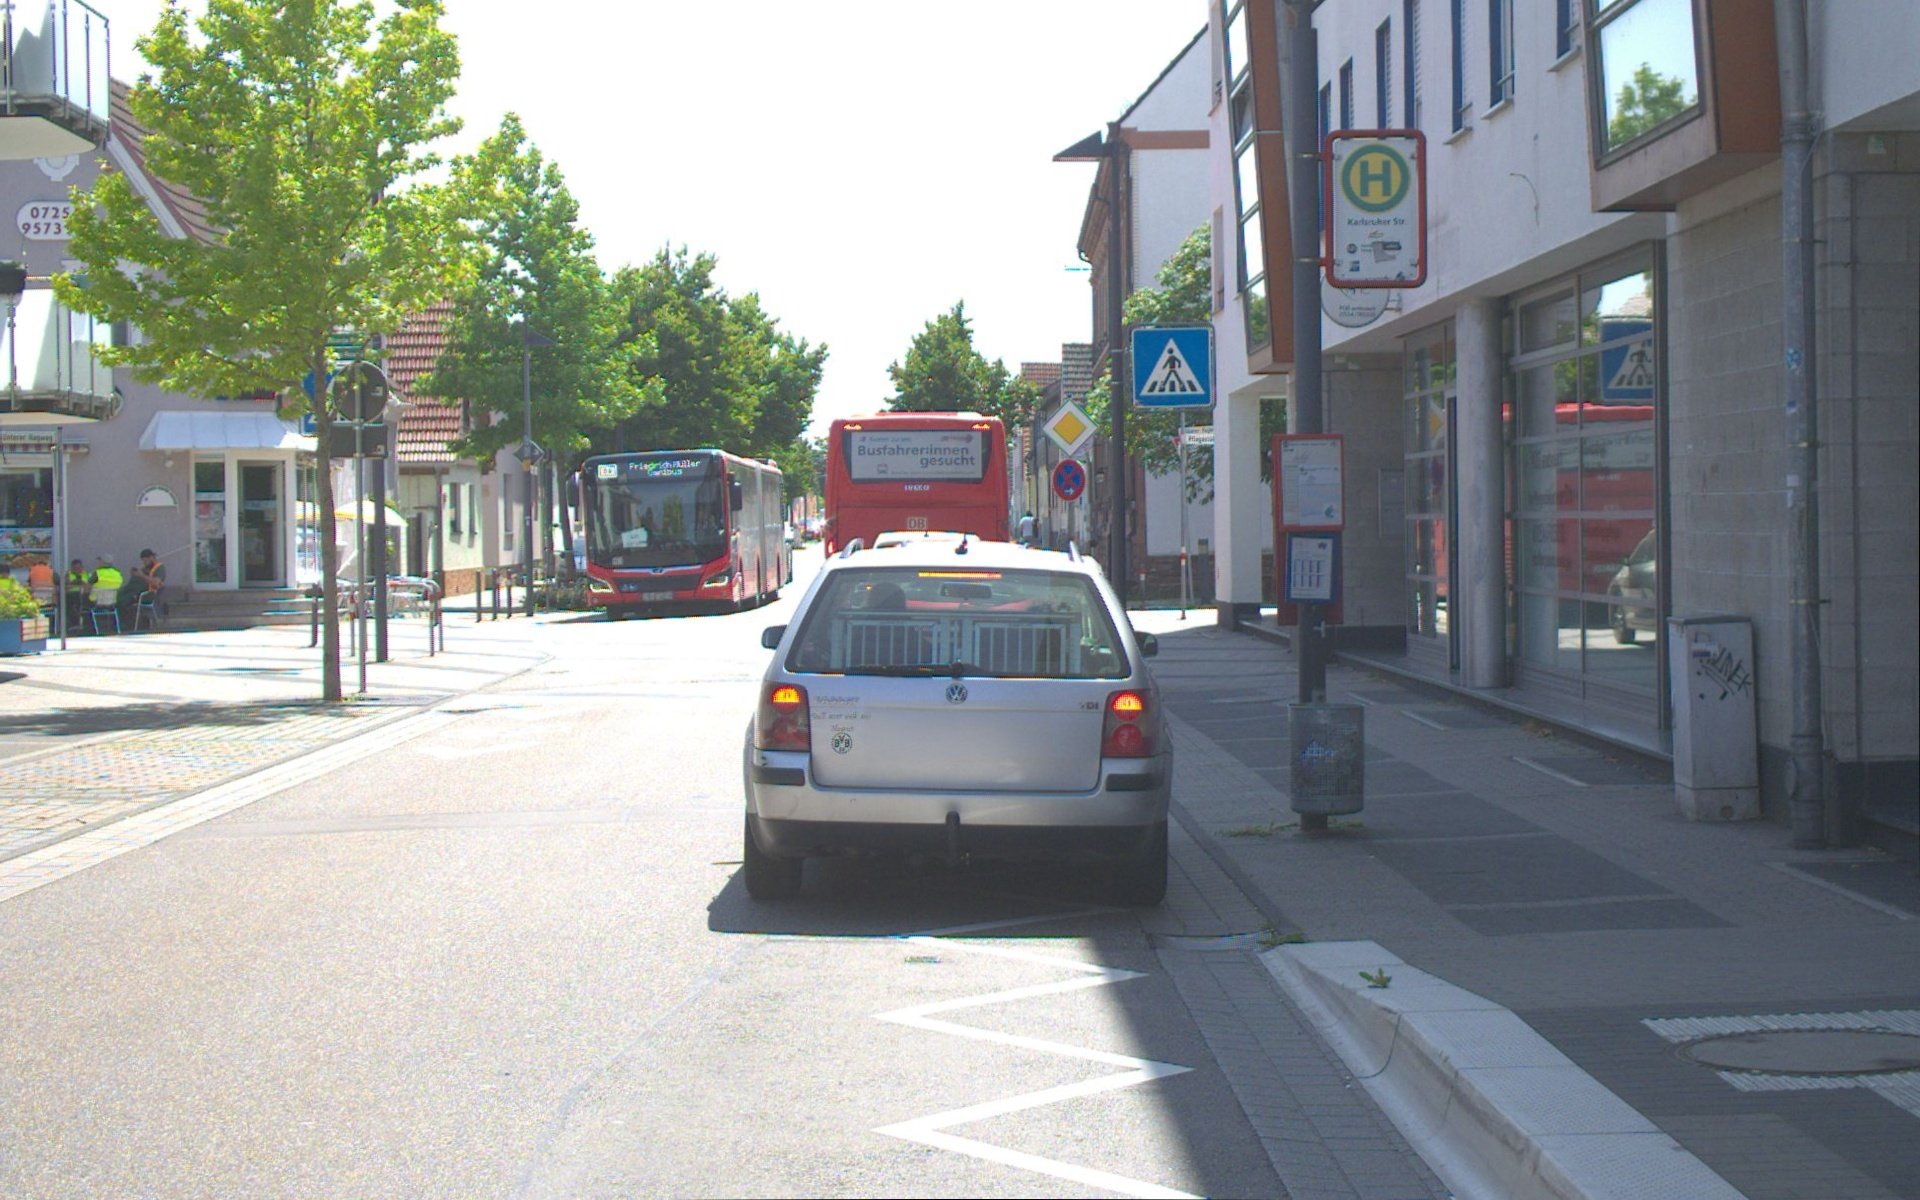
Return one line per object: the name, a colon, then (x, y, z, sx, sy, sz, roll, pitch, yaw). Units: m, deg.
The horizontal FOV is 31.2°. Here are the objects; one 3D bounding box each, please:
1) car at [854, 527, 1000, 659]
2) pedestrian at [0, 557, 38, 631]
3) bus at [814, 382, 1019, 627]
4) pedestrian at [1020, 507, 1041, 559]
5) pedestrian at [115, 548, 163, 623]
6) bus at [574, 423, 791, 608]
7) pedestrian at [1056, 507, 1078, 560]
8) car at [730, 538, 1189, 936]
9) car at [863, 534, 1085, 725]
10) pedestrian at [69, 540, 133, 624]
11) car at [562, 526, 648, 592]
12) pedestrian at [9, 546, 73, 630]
car: (-0.358, -0.118, 39.712, 1.593, 1.425, 3.680, 1, 1, 0)
pedestrian: (-14.690, -0.102, 52.944, 0.634, 1.112, 0.789, 1, 1, -44)
bus: (-0.836, -1.404, 52.533, 2.740, 3.287, 12.707, 0, 1, -2)
pedestrian: (2.282, -2.153, 110.706, 0.606, 1.661, 0.789, -1, 1, -2)
pedestrian: (-13.085, -0.242, 54.798, 0.622, 1.175, 0.697, -1, 1, -5)
bus: (-5.244, -1.688, 68.460, 2.669, 3.113, 17.808, -2, 1, 0)
pedestrian: (3.352, -2.083, 108.044, 0.606, 1.661, 0.789, -1, 1, -2)
car: (-0.032, 0.482, 14.686, 1.677, 1.425, 3.680, 2, 1, -1)
car: (0.076, 0.189, 27.894, 1.677, 1.425, 3.680, 0, 1, -1)
pedestrian: (-13.363, -0.284, 53.490, 0.634, 1.284, 0.789, 1, 1, -44)
car: (-8.078, -0.960, 78.424, 1.605, 1.433, 4.065, -1, 1, -1)
pedestrian: (-14.373, -0.186, 53.739, 0.634, 1.284, 0.789, 1, 1, -44)
